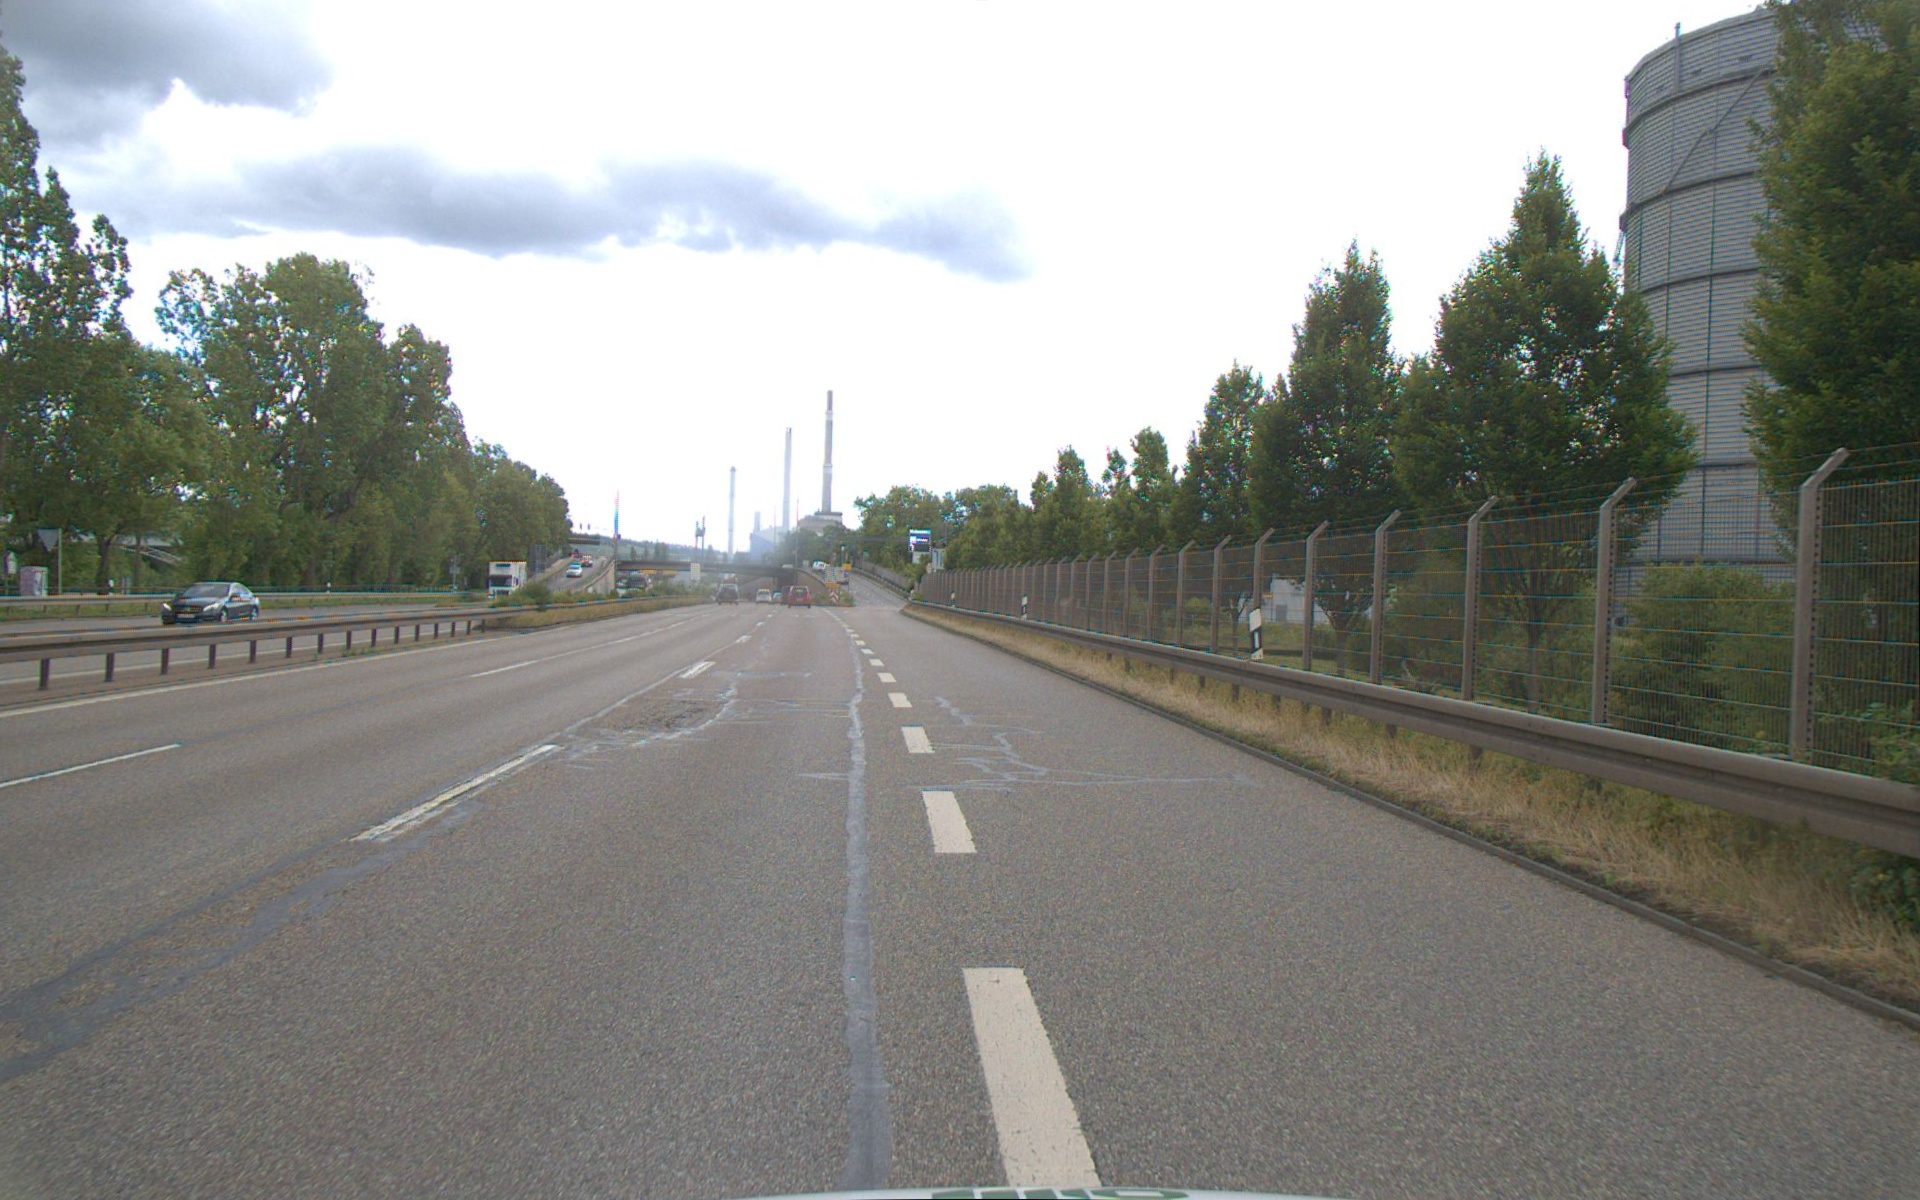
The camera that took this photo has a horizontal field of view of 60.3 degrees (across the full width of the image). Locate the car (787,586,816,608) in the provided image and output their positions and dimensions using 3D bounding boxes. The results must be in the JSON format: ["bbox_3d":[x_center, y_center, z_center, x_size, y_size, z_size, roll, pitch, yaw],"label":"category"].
[{"bbox_3d":[-11.381,-0.205,119.172,1.955,1.444,3.996,2,1,-5],"label":"car"}]

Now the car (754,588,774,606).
[{"bbox_3d":[-20.262,-0.342,171.000,1.955,1.713,3.995,2,1,-6],"label":"car"}]

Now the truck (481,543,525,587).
[{"bbox_3d":[-41.263,-3.148,149.598,2.928,3.707,6.324,3,0,-9],"label":"truck"}]

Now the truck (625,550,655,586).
[{"bbox_3d":[-44.287,-4.395,229.084,3.397,4.754,6.202,2,0,-7],"label":"truck"}]

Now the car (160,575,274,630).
[{"bbox_3d":[-23.709,0.064,52.936,1.955,1.637,4.643,2,0,-7],"label":"car"}]

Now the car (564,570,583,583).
[{"bbox_3d":[-51.540,-3.107,220.664,1.957,1.673,4.595,3,0,-9],"label":"car"}]

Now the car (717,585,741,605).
[{"bbox_3d":[-21.430,-0.459,153.413,1.955,1.713,3.995,2,1,-6],"label":"car"}]

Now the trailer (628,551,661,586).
[{"bbox_3d":[-45.178,-4.443,236.971,3.397,4.754,14.761,2,0,-7],"label":"trailer"}]
